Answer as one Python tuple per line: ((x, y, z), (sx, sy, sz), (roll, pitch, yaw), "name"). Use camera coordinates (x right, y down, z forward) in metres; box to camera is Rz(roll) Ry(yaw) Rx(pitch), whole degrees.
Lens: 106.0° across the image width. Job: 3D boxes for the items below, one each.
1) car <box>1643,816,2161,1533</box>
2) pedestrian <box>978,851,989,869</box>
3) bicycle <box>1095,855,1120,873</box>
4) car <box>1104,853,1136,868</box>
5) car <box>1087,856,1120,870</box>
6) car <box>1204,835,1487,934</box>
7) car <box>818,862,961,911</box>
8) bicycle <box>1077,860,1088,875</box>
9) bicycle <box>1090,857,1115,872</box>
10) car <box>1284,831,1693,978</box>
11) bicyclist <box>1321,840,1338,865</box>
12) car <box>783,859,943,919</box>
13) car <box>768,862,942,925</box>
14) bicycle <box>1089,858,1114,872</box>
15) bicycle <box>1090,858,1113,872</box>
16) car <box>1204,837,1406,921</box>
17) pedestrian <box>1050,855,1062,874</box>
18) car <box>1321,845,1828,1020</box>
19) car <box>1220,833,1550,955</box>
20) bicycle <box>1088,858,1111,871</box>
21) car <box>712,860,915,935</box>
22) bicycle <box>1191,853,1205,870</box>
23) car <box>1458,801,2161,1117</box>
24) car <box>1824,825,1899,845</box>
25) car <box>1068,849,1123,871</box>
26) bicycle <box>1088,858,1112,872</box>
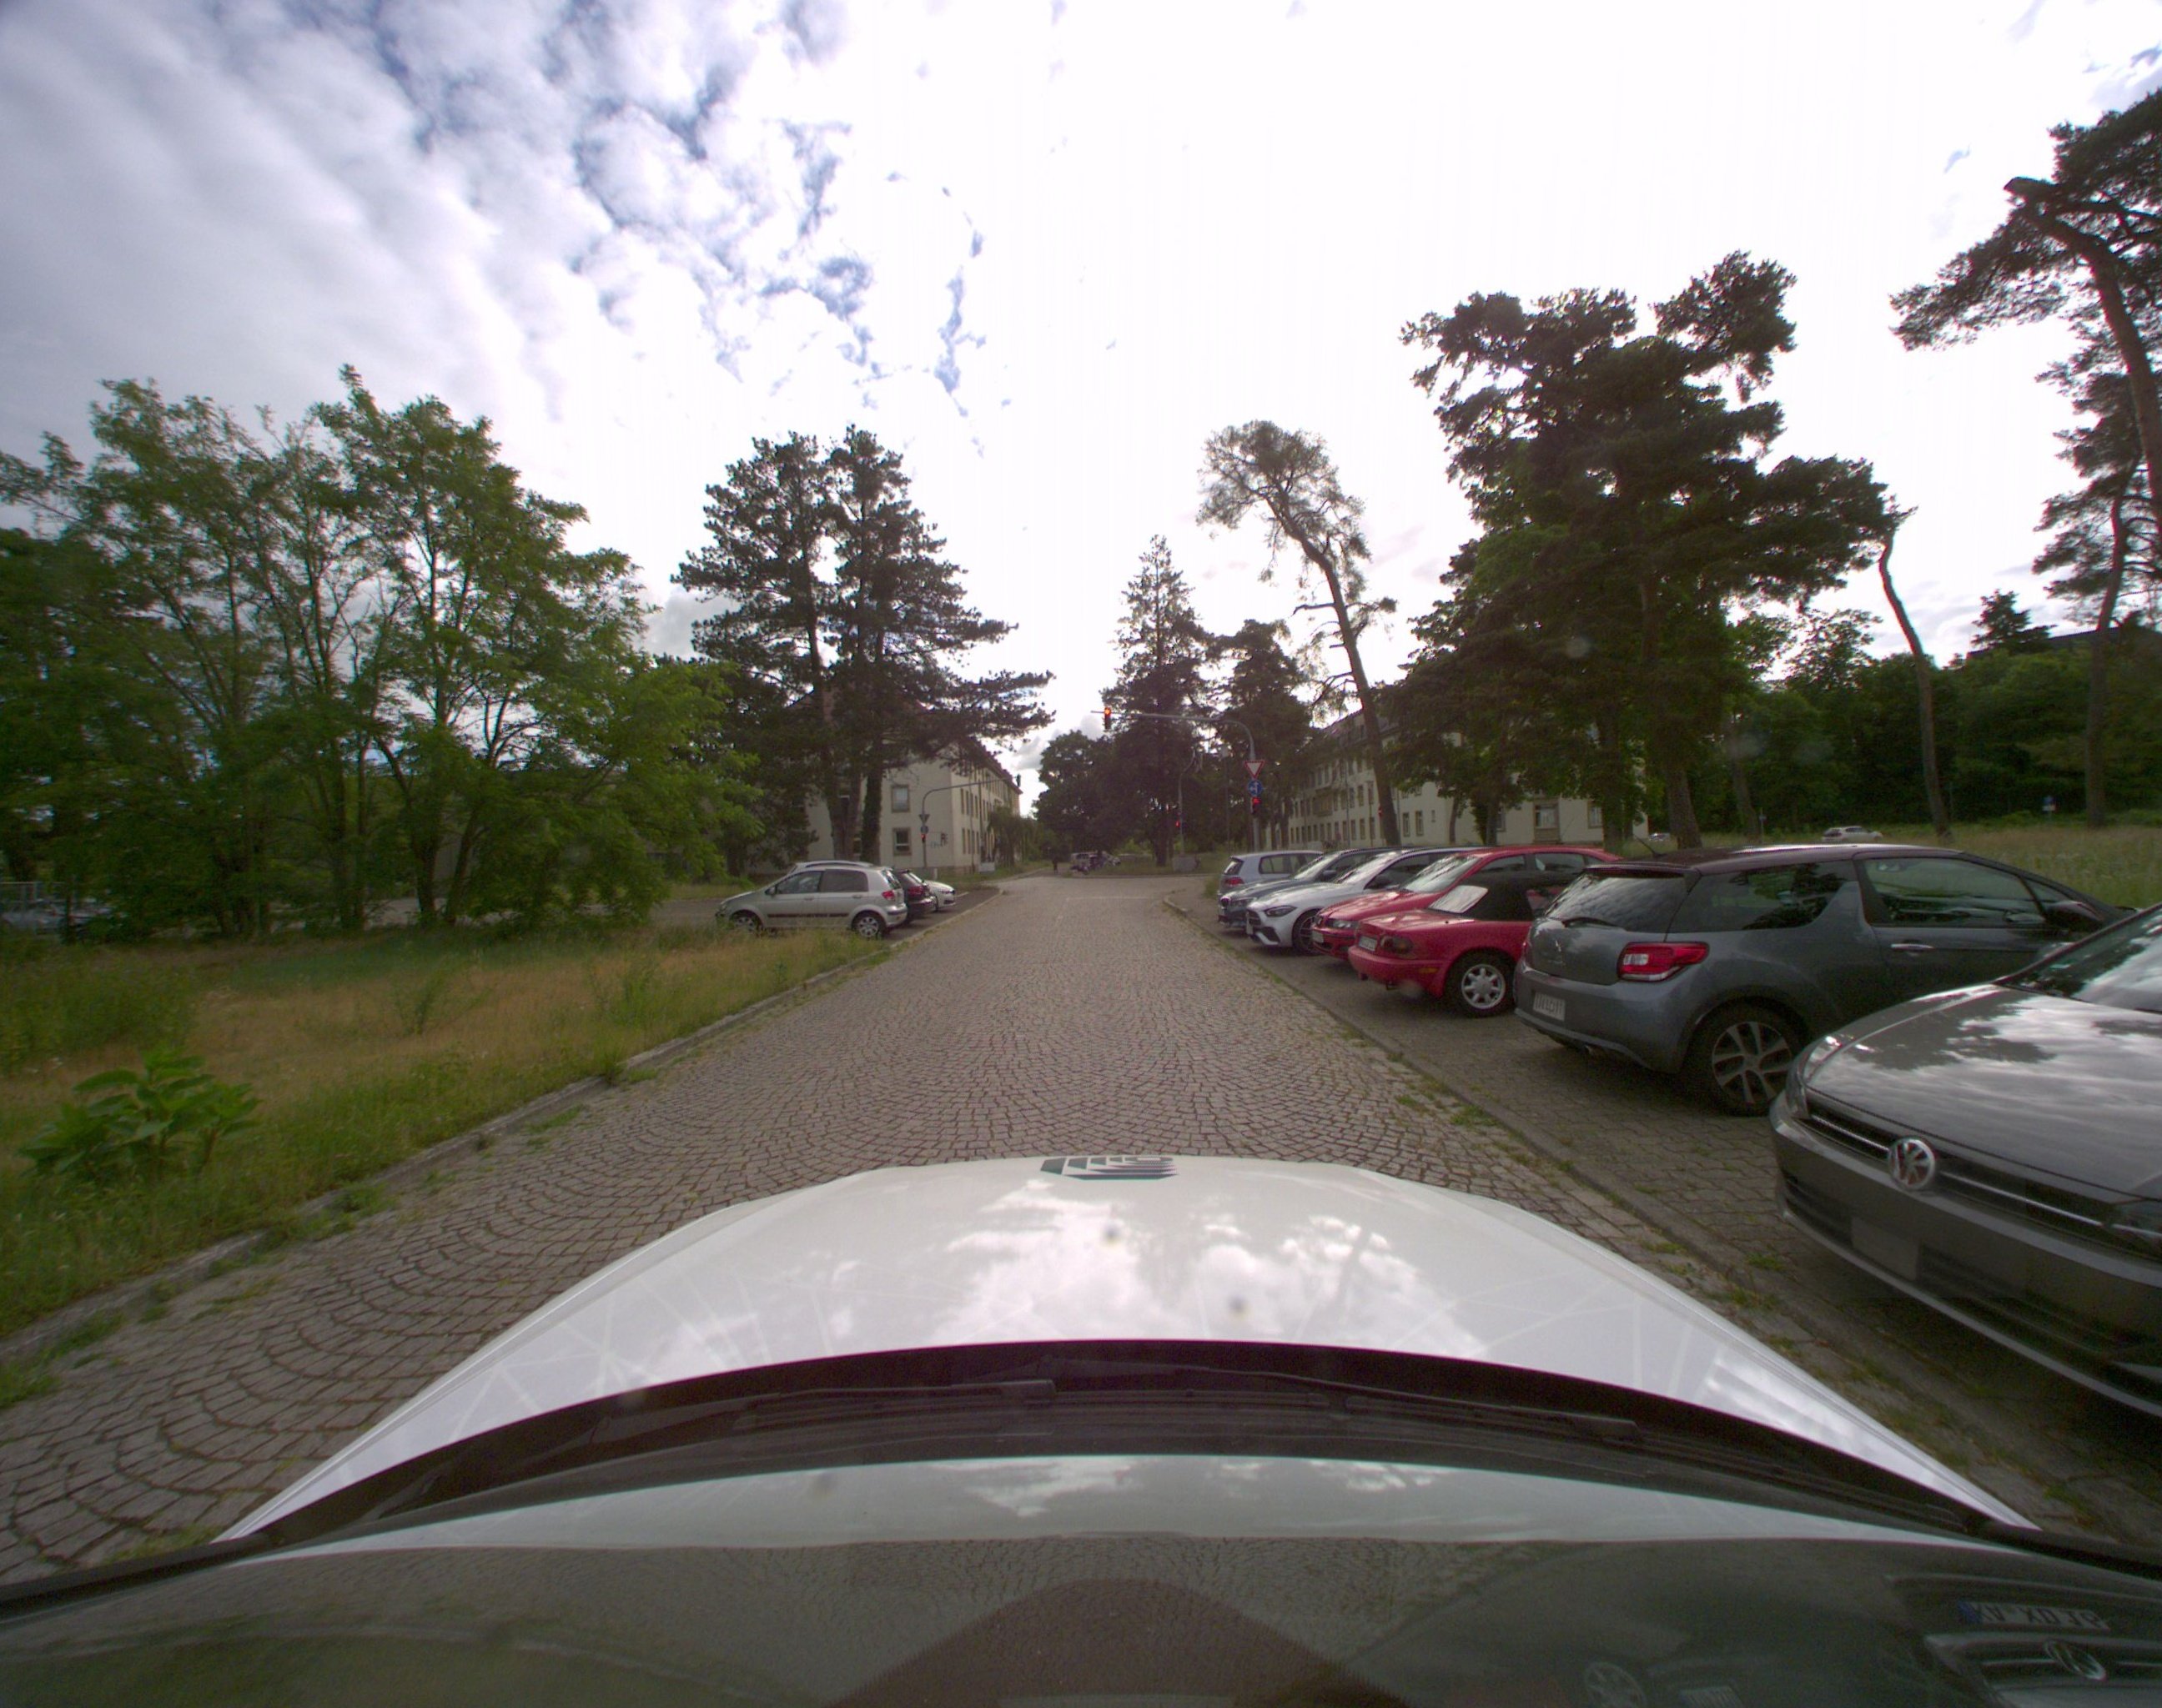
((4.210, 0.595, 2.389), (3.850, 1.472, 1.758), (-4, 0, 0), "car")
((-9.824, 0.608, 82.330), (0.779, 1.837, 0.733), (-2, -1, -31), "pedestrian")
((2.223, 0.815, 68.120), (1.953, 1.384, 0.586), (-2, 0, -7), "bicycle")
((4.221, 0.709, 88.631), (3.224, 1.416, 1.723), (-3, 0, -3), "car")
((2.233, 0.924, 81.312), (3.002, 1.268, 1.532), (-3, 0, -6), "car")
((4.855, 0.532, 15.380), (4.669, 1.416, 1.869), (-4, 0, -3), "car")
((-5.779, 0.966, 24.884), (3.936, 1.421, 1.649), (0, 0, -1), "car")
((0.121, 1.038, 63.447), (0.602, 1.132, 1.958), (-2, 0, -5), "bicycle")
((1.740, 0.885, 66.653), (1.953, 1.132, 0.586), (-2, 0, -7), "bicycle")
((4.982, 0.587, 10.426), (4.249, 1.416, 1.871), (-4, 0, -1), "car")
((14.598, -0.100, 47.822), (0.747, 1.410, 0.605), (-2, 0, 0), "bicyclist")
((-5.885, 0.926, 22.348), (3.938, 1.563, 1.648), (0, 0, -3), "car")
((-5.341, 0.932, 19.566), (3.737, 1.428, 1.581), (0, 0, -3), "car")
((1.681, 0.913, 67.285), (1.953, 1.117, 0.586), (-2, 0, -7), "bicycle")
((1.745, 0.946, 70.119), (1.967, 1.069, 0.582), (-2, 0, -30), "bicycle")
((4.794, 0.515, 17.831), (3.912, 1.477, 1.643), (-4, 0, 1), "car")
((-2.306, 0.968, 74.987), (0.743, 1.618, 0.768), (-2, -1, -32), "pedestrian")
((4.556, 0.677, 7.939), (3.851, 1.236, 1.757), (-4, 0, -1), "car")
((4.624, 0.557, 12.692), (4.421, 1.416, 1.865), (-4, 0, -9), "car")
((1.688, 0.948, 73.804), (1.964, 1.069, 0.583), (-2, 0, -25), "bicycle")
((-5.456, 0.874, 16.968), (3.694, 1.479, 1.581), (0, 0, -3), "car")
((7.832, 0.474, 54.579), (0.584, 1.106, 1.961), (-2, 0, 0), "bicycle")
((4.824, 0.545, 5.314), (3.851, 1.472, 1.757), (-4, 0, -1), "car")
((57.951, -1.439, 60.534), (3.931, 1.421, 1.651), (0, 0, 2), "car")
((1.464, 0.603, 84.736), (5.359, 1.925, 2.019), (-4, 0, -9), "car")
((1.585, 0.946, 68.768), (1.967, 1.069, 0.582), (-2, 0, -30), "bicycle")
